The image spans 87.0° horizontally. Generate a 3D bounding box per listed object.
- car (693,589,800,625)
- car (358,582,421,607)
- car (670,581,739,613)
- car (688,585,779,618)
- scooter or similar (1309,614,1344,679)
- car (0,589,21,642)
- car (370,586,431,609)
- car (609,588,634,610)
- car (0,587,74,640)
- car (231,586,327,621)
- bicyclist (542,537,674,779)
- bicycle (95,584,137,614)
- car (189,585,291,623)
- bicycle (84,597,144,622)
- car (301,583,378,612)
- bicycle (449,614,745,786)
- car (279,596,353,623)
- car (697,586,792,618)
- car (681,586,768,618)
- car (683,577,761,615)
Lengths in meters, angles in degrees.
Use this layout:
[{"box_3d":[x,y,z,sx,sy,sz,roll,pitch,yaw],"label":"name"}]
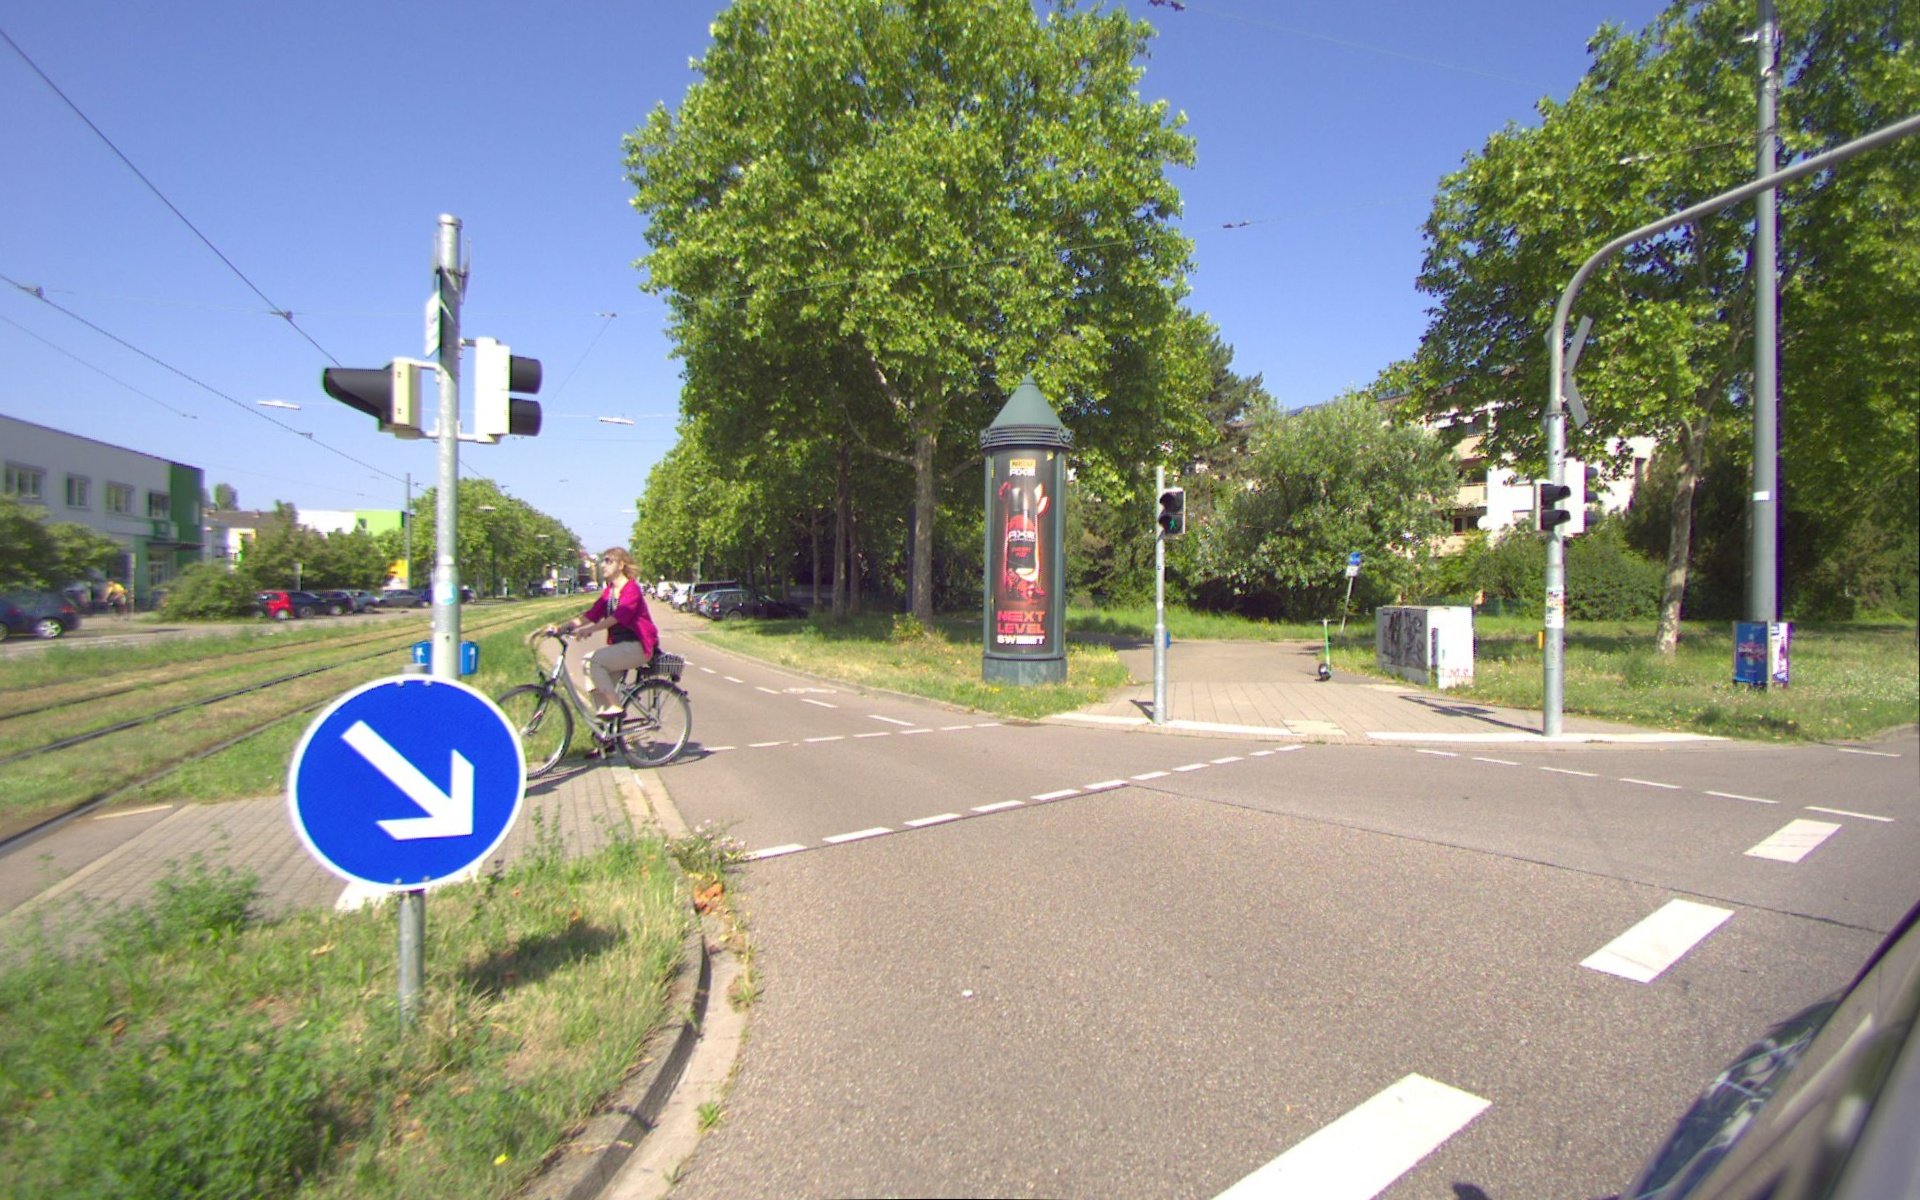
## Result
[{"box_3d":[-9.510,0.265,45.084,4.266,1.509,2.003,-1,1,-27],"label":"car"},{"box_3d":[-44.826,-0.421,79.529,1.993,1.817,3.938,-2,-1,43],"label":"car"},{"box_3d":[-18.276,-0.247,72.443,4.496,2.237,2.003,0,0,-27],"label":"car"},{"box_3d":[-11.830,0.074,52.914,4.266,1.654,2.002,0,-1,-27],"label":"car"},{"box_3d":[6.987,0.862,19.267,0.511,1.156,1.434,-1,0,24],"label":"scooter or similar"},{"box_3d":[-29.323,0.460,28.530,2.136,1.517,4.139,-1,0,45],"label":"car"},{"box_3d":[-45.773,-0.216,82.840,1.993,1.816,3.938,2,1,43],"label":"car"},{"box_3d":[-26.507,-0.047,79.220,1.756,1.676,4.008,0,-1,-17],"label":"car"},{"box_3d":[-30.230,0.412,31.287,2.136,1.640,4.138,0,0,45],"label":"car"},{"box_3d":[-36.612,0.210,54.471,1.993,1.817,3.938,-2,-1,43],"label":"car"},{"box_3d":[-2.822,0.428,8.114,0.796,1.809,0.702,0,0,-40],"label":"bicyclist"},{"box_3d":[-37.282,-0.051,44.704,1.194,1.343,0.780,0,0,-8],"label":"bicycle"},{"box_3d":[-36.475,0.210,51.342,1.993,1.817,3.938,-2,-1,43],"label":"car"},{"box_3d":[-37.305,0.404,44.685,1.089,1.059,2.132,0,1,-9],"label":"bicycle"},{"box_3d":[-40.537,-0.142,66.119,1.993,1.817,3.938,-2,-1,43],"label":"car"},{"box_3d":[-2.844,0.745,8.098,2.087,1.200,0.692,3,-2,-41],"label":"bicycle"},{"box_3d":[-38.335,0.525,60.292,1.559,1.555,3.399,1,1,37],"label":"car"},{"box_3d":[-10.747,0.093,50.493,4.266,1.509,2.003,0,0,-27],"label":"car"},{"box_3d":[-12.864,0.093,55.291,4.266,1.653,2.003,0,0,-27],"label":"car"},{"box_3d":[-14.989,-0.253,63.670,4.493,2.318,2.004,0,0,-21],"label":"car"}]
